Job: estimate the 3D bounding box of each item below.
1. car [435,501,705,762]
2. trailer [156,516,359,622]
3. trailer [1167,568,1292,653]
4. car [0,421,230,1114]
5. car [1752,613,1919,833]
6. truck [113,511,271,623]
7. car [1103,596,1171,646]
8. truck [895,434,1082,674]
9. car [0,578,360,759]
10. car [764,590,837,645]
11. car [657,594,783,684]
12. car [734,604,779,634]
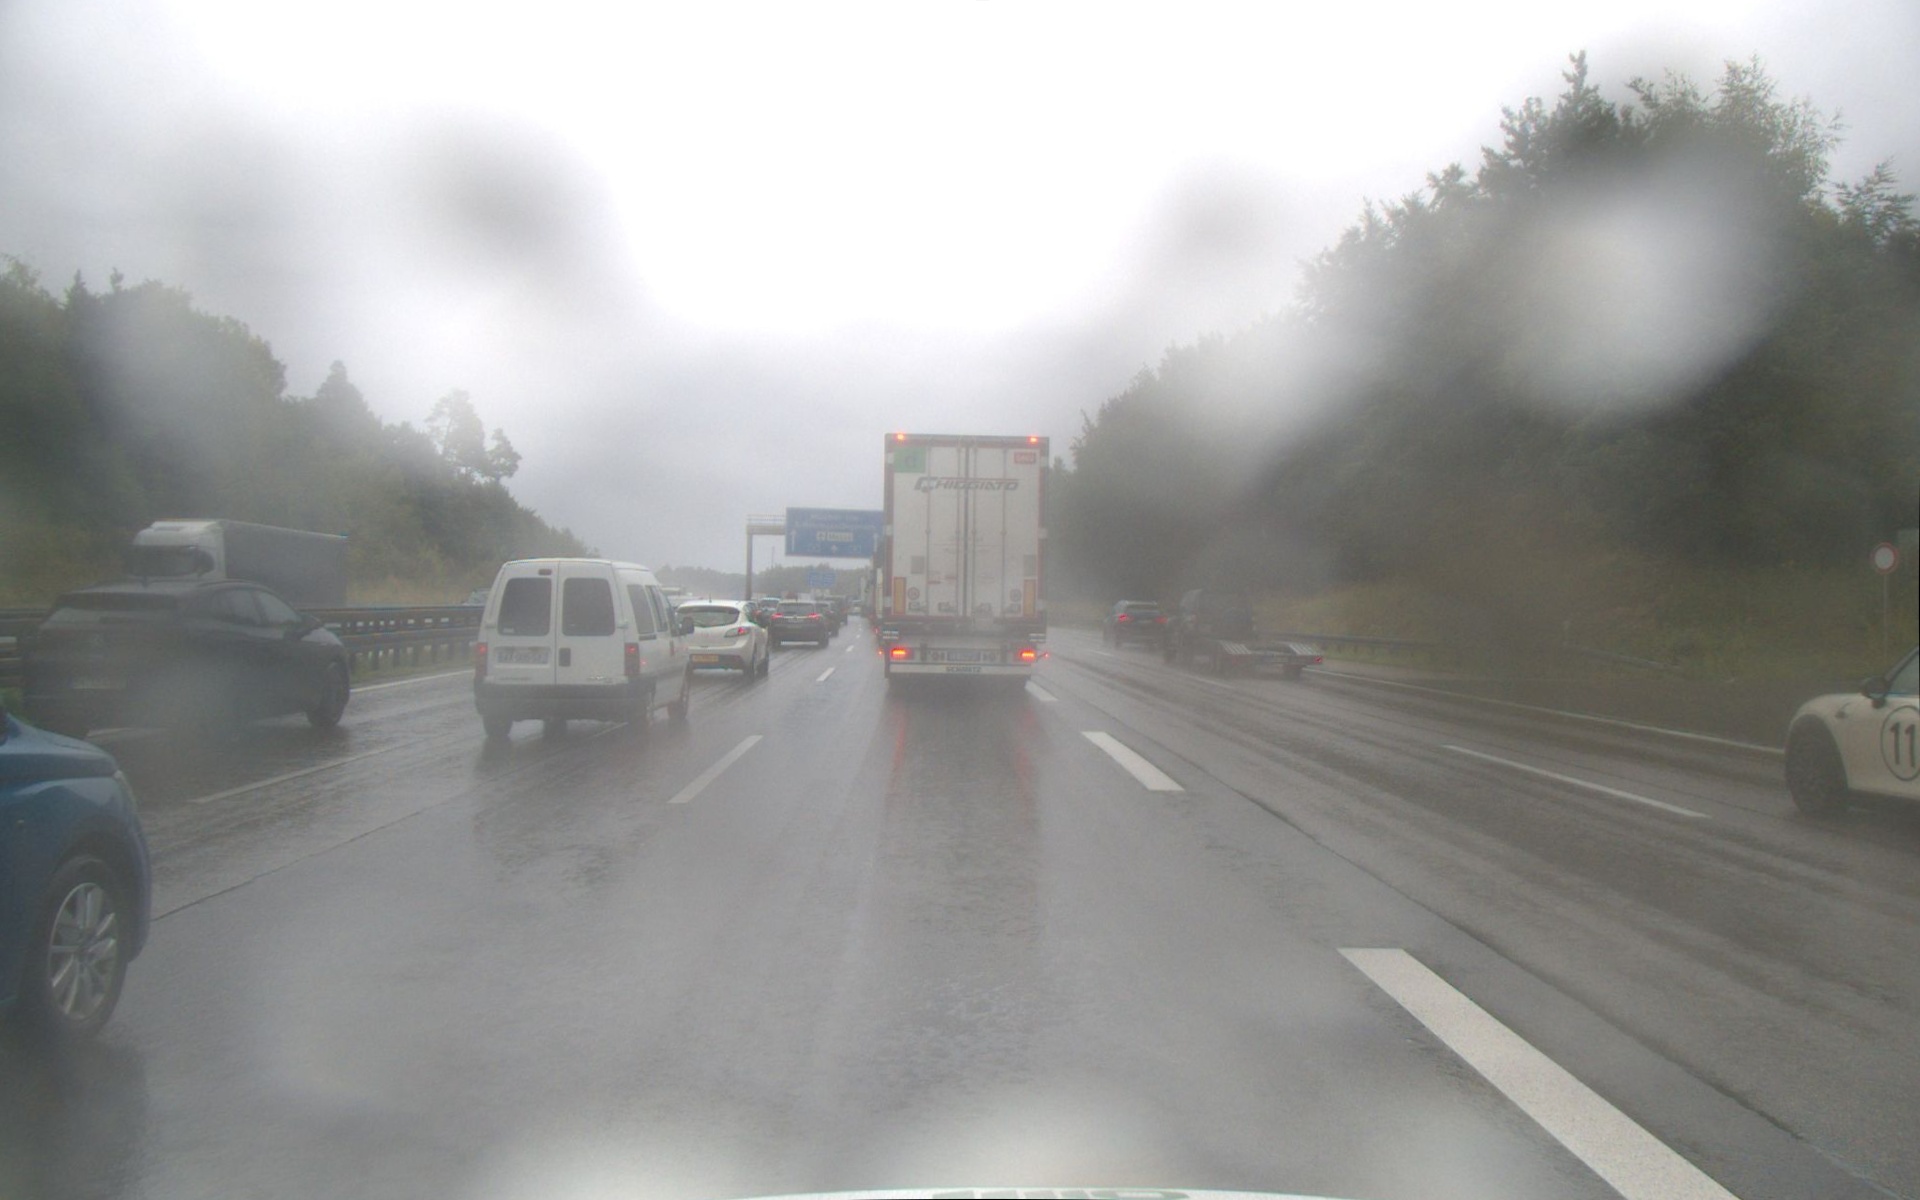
[{"bbox_3d":[-4.324,0.305,19.240,2.169,2.618,5.012,1,0,-3],"label":"car"},{"bbox_3d":[-28.256,-1.158,67.540,2.963,3.884,13.554,0,0,-2],"label":"trailer"},{"bbox_3d":[5.914,0.203,36.848,2.196,1.744,5.084,1,0,3],"label":"trailer"},{"bbox_3d":[-3.827,0.464,3.498,2.222,1.945,5.016,1,0,1],"label":"car"},{"bbox_3d":[7.246,0.841,11.123,1.754,1.431,4.227,1,0,-1],"label":"car"},{"bbox_3d":[-28.018,-1.155,60.684,2.959,3.884,6.262,0,0,-1],"label":"truck"},{"bbox_3d":[6.113,0.695,57.460,1.949,1.611,4.768,1,0,1],"label":"car"},{"bbox_3d":[0.410,-0.670,30.892,2.814,3.624,11.300,1,0,0],"label":"truck"},{"bbox_3d":[-7.902,0.607,17.205,1.808,1.619,4.465,1,0,-2],"label":"car"},{"bbox_3d":[-4.987,0.517,52.279,1.807,1.619,4.467,1,0,1],"label":"car"},{"bbox_3d":[-4.597,0.700,32.229,1.807,1.619,4.072,1,0,1],"label":"car"},{"bbox_3d":[-9.868,0.886,80.376,1.809,1.354,4.464,1,0,-3],"label":"car"}]
